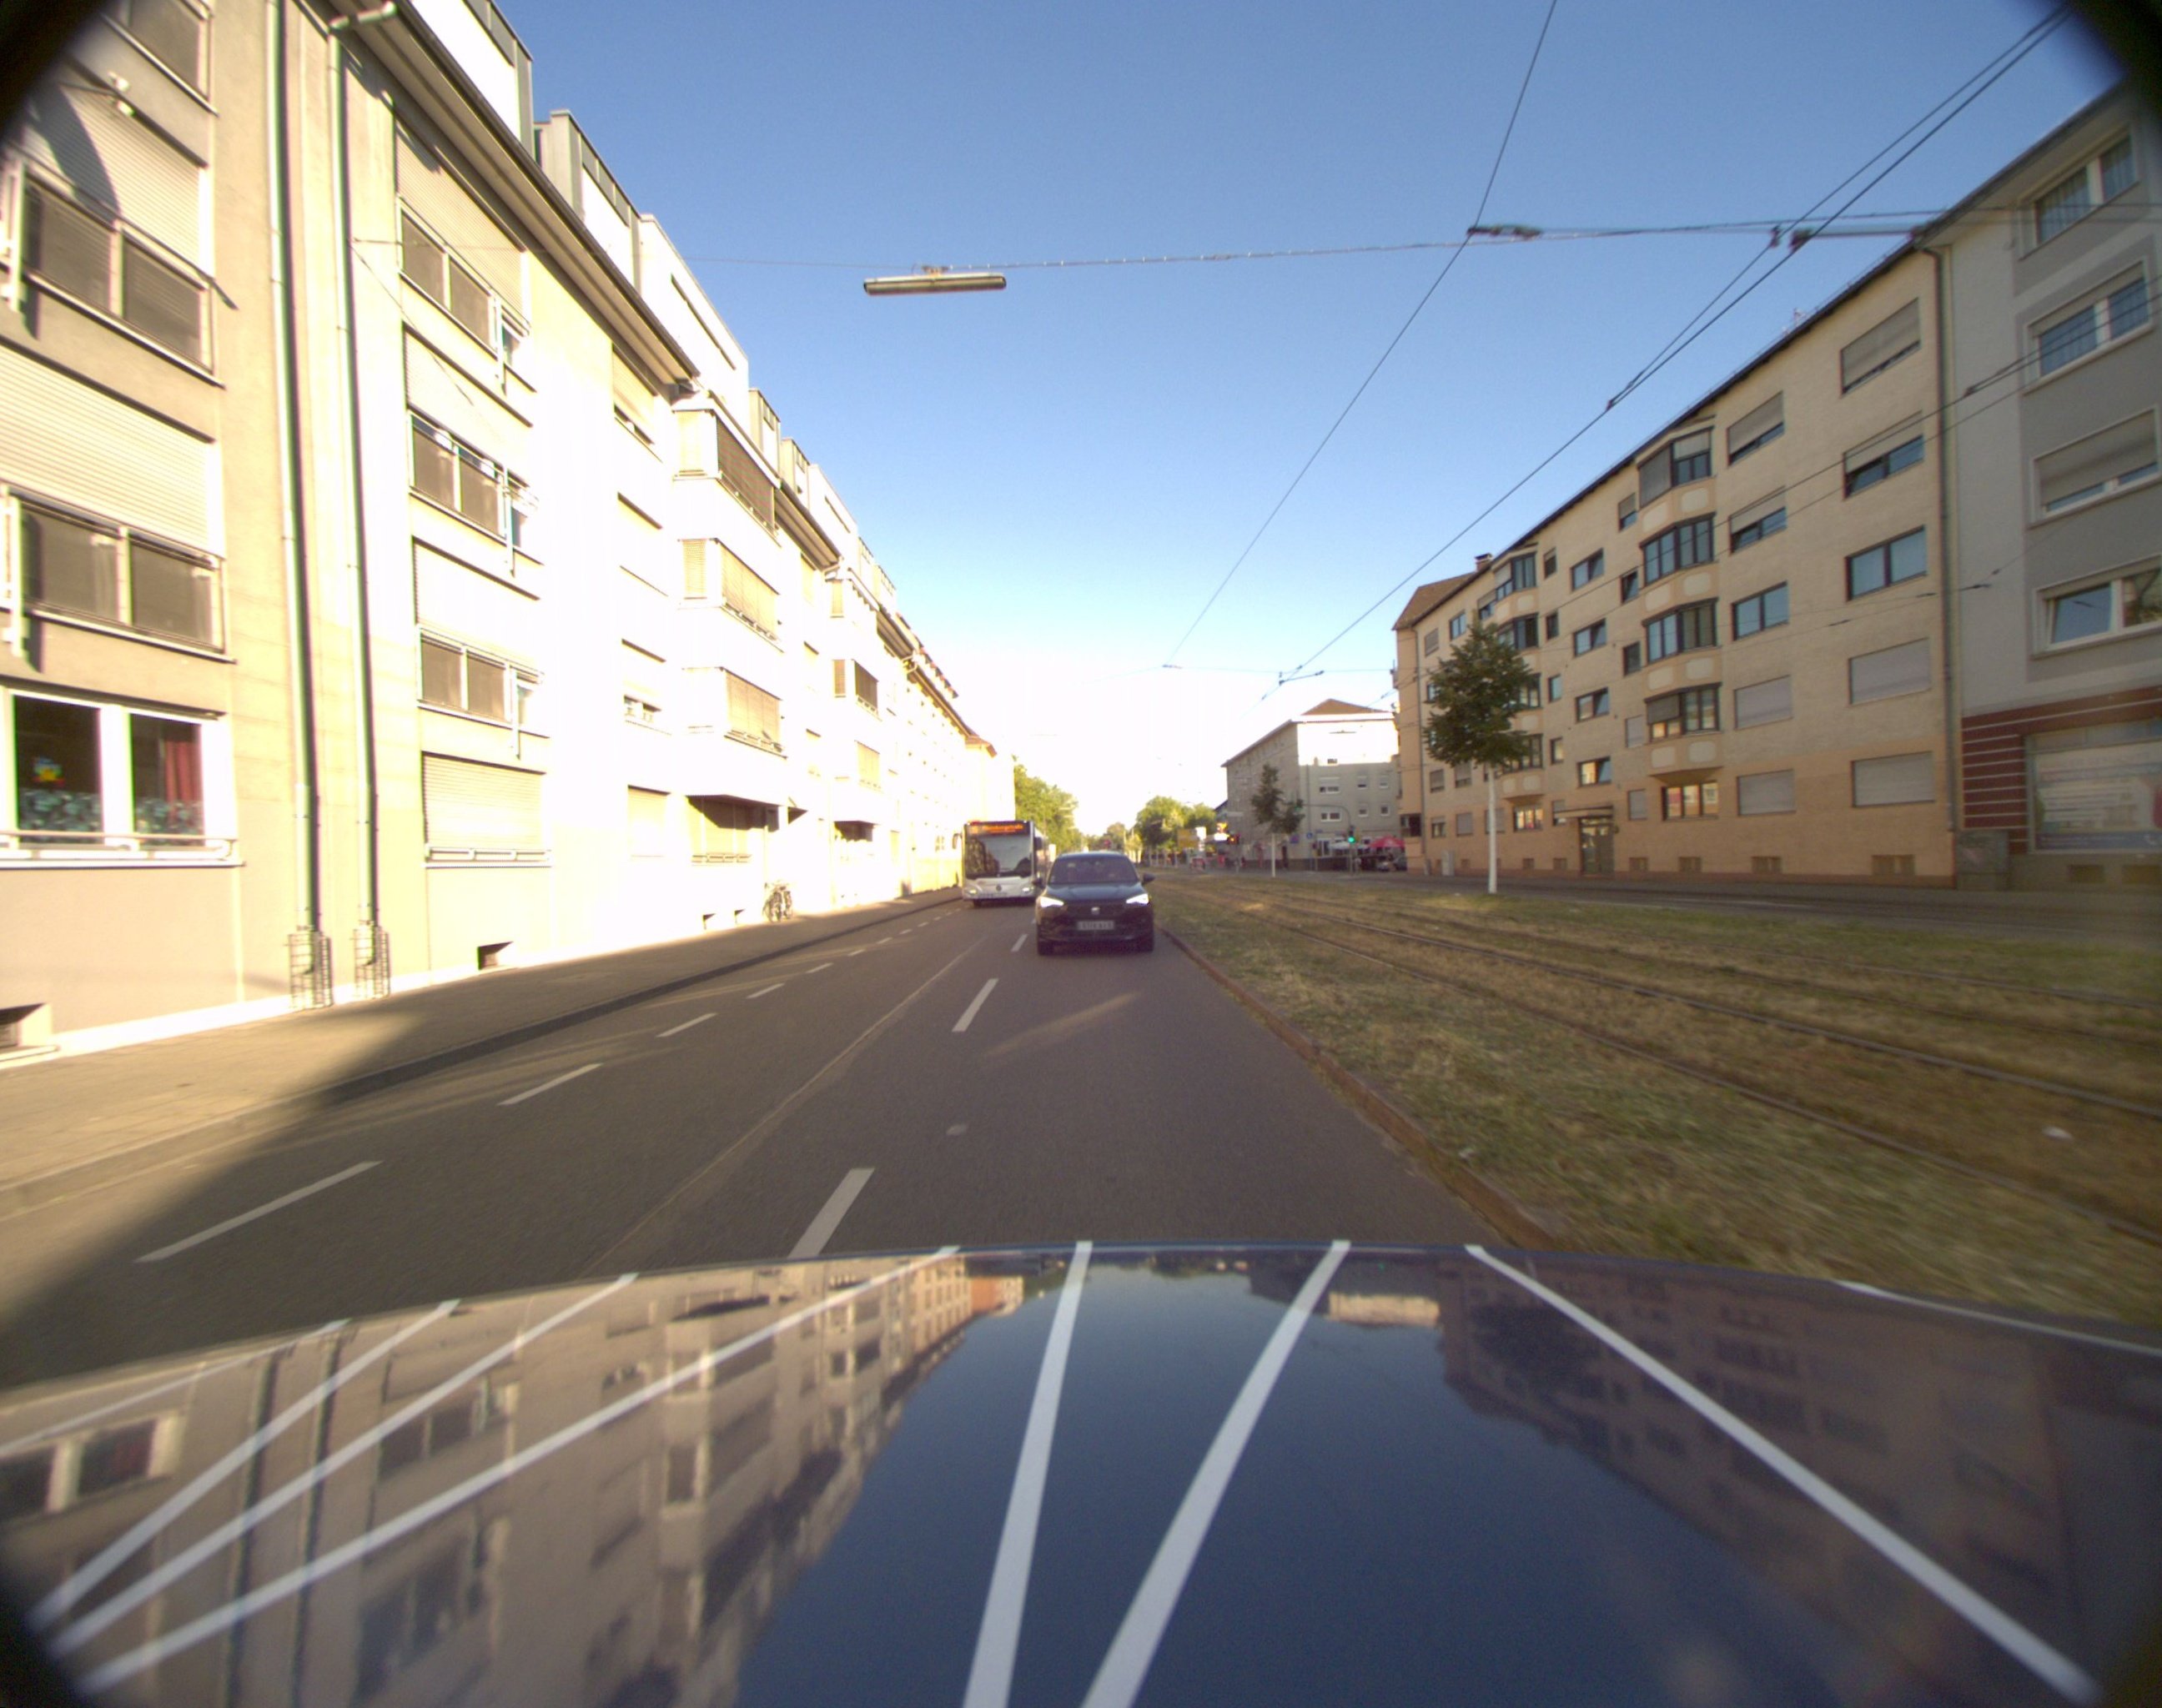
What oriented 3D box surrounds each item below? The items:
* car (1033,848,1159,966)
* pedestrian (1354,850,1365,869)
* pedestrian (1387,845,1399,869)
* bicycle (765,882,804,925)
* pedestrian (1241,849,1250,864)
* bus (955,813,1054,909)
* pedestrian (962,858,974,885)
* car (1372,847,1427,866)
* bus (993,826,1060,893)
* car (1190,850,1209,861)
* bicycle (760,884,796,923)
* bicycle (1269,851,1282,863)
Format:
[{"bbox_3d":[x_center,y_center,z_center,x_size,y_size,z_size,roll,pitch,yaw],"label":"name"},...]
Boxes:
[{"bbox_3d":[0.288,0.766,13.212,1.788,1.615,4.216,-2,1,2],"label":"car"},{"bbox_3d":[21.913,0.416,59.868,0.624,1.481,0.582,-2,1,0],"label":"pedestrian"},{"bbox_3d":[23.577,0.206,57.411,0.634,1.760,0.826,-2,1,29],"label":"pedestrian"},{"bbox_3d":[-7.810,1.276,20.078,0.360,1.026,1.730,1,0,-1],"label":"bicycle"},{"bbox_3d":[19.564,0.255,90.622,0.742,1.731,1.226,-2,0,0],"label":"pedestrian"},{"bbox_3d":[-2.728,0.245,30.406,2.731,3.059,10.600,-2,0,0],"label":"bus"},{"bbox_3d":[-7.408,1.135,49.785,0.648,1.721,0.558,0,0,0],"label":"pedestrian"},{"bbox_3d":[28.308,0.224,67.522,3.998,1.499,1.999,-2,0,-4],"label":"car"},{"bbox_3d":[-2.690,0.272,41.034,2.712,3.059,10.600,-2,0,0],"label":"bus"},{"bbox_3d":[16.875,0.239,108.431,1.922,1.581,4.469,-2,-1,0],"label":"car"},{"bbox_3d":[-8.140,1.312,20.481,0.279,0.965,1.730,1,0,-1],"label":"bicycle"},{"bbox_3d":[21.682,0.337,84.836,0.579,1.370,3.236,-2,0,-1],"label":"bicycle"}]
